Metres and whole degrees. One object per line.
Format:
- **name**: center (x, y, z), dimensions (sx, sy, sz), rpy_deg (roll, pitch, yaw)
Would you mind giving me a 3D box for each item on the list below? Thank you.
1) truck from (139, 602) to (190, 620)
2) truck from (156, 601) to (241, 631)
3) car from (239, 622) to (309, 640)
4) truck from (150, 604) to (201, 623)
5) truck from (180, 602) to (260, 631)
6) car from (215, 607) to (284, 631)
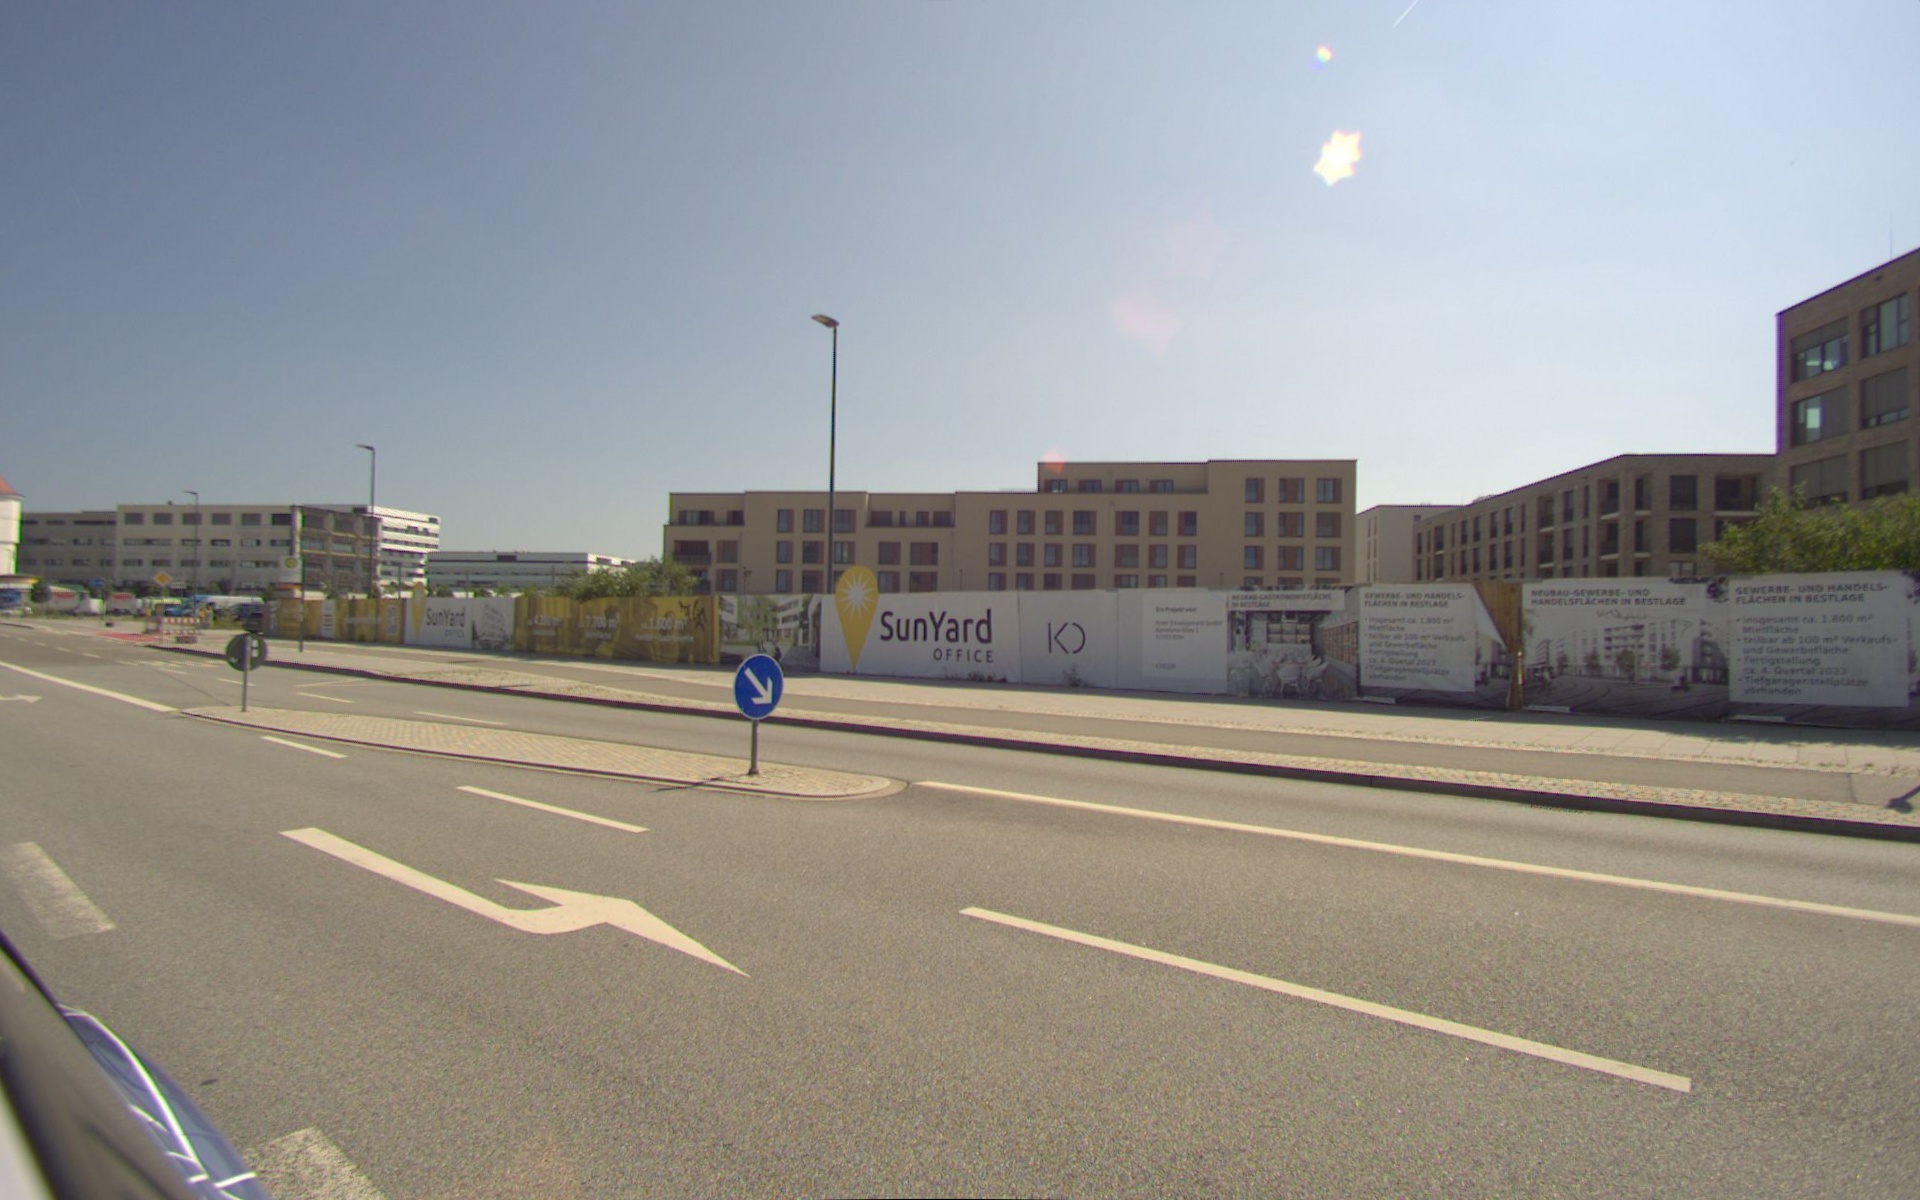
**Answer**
- **truck**: center (-112.599, 1.564, 143.335), dimensions (1.998, 2.494, 5.345), rpy_deg (-1, 0, 39)
- **truck**: center (-65.738, 1.345, 87.436), dimensions (1.997, 2.494, 5.566), rpy_deg (-1, 0, 37)
- **car**: center (-41.625, 1.871, 61.415), dimensions (1.293, 0.960, 3.314), rpy_deg (-1, 0, 43)
- **truck**: center (-106.857, 1.842, 137.904), dimensions (1.997, 2.494, 5.269), rpy_deg (-1, 0, 37)
- **truck**: center (-60.291, 1.320, 82.466), dimensions (1.998, 2.245, 4.941), rpy_deg (-1, 0, 40)
- **car**: center (-53.415, 1.418, 76.106), dimensions (1.888, 1.731, 3.884), rpy_deg (-1, 0, 36)
